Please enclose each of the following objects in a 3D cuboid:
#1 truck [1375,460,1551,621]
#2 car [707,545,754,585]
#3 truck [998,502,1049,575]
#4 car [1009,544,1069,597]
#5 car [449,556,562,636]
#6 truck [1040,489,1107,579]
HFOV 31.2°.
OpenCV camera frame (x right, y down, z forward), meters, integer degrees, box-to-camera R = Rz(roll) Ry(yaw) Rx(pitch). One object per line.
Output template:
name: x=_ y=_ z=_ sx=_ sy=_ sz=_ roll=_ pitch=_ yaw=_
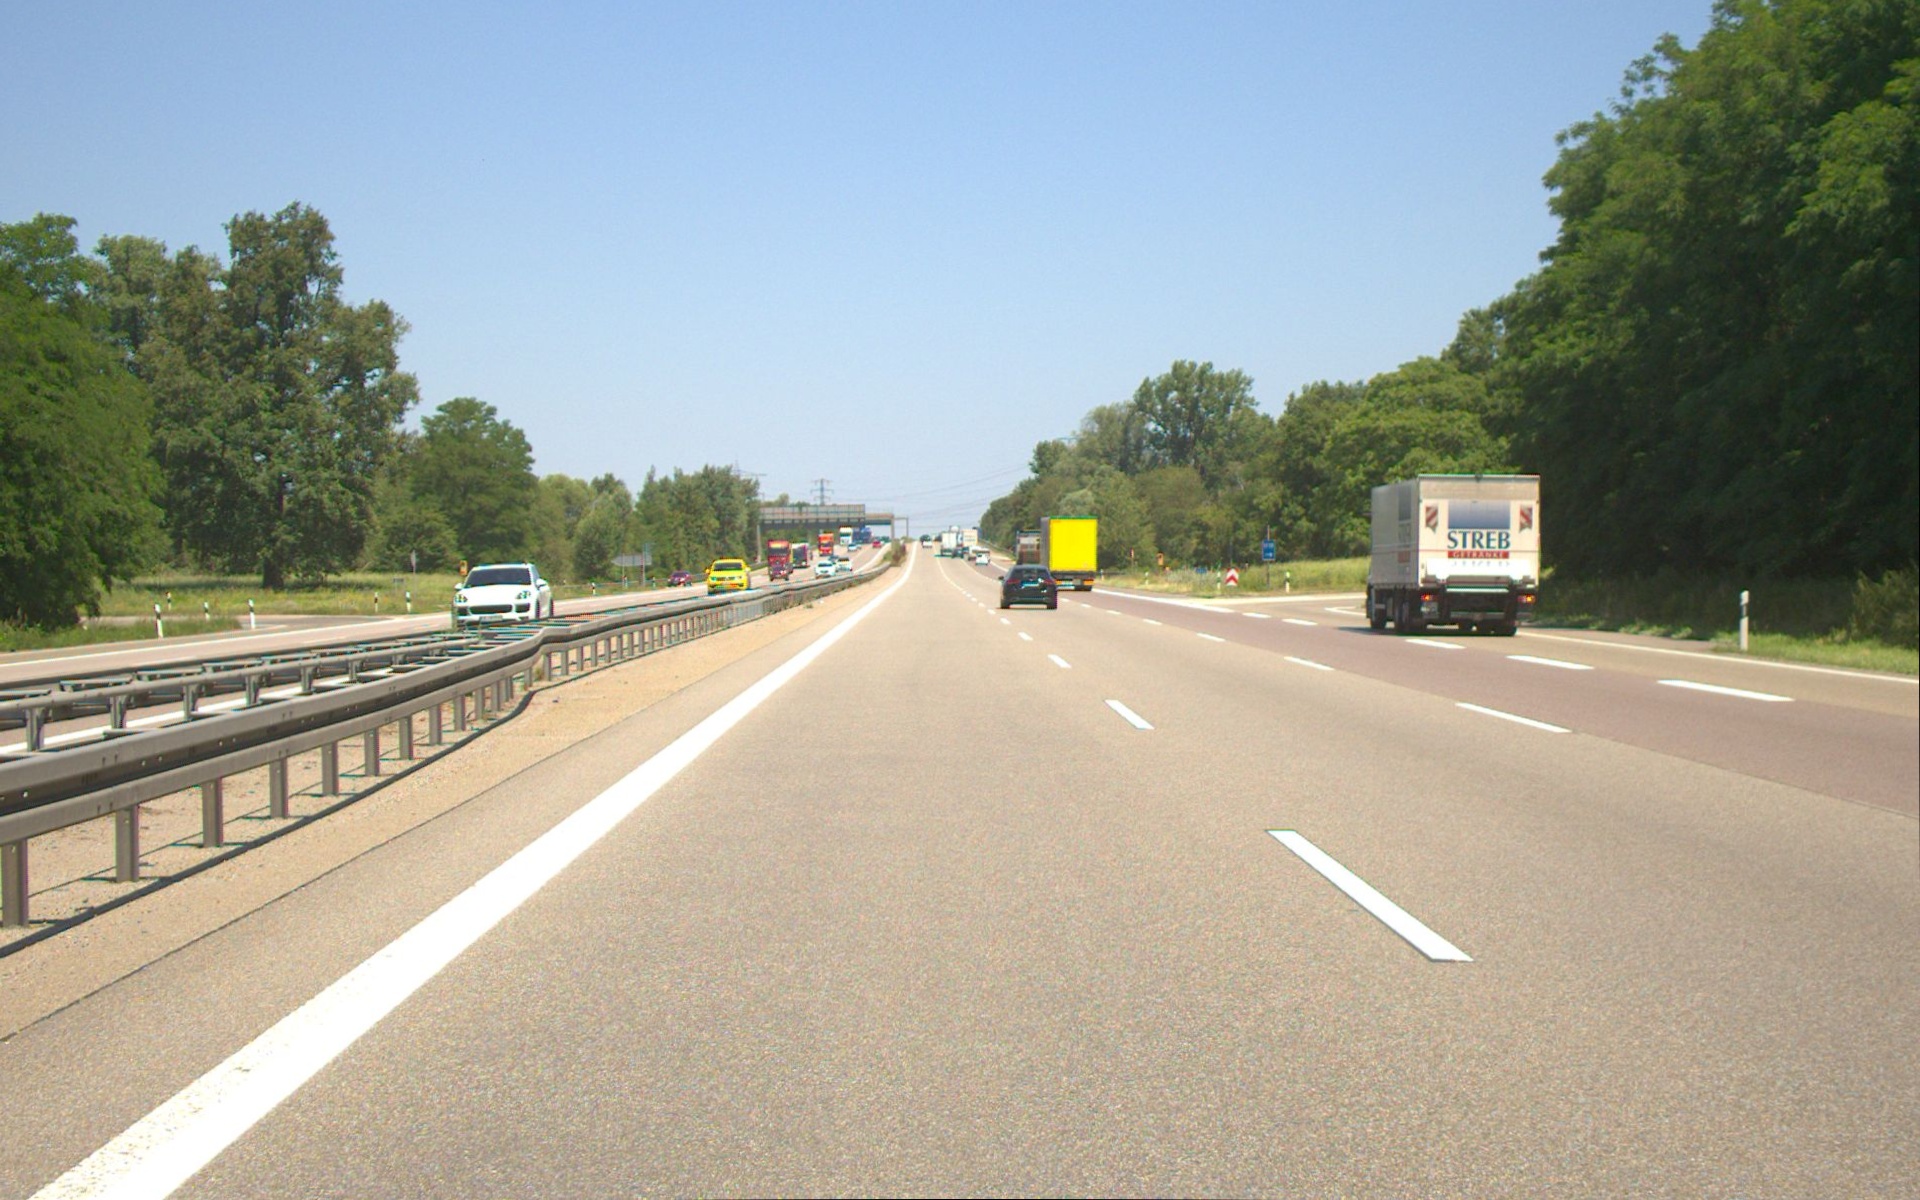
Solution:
truck: x=11.138 y=-1.294 z=77.066 sx=3.028 sy=3.308 sz=10.769 roll=1 pitch=1 yaw=4
car: x=-11.343 y=-1.740 z=170.152 sx=1.993 sy=1.957 sz=5.211 roll=1 pitch=1 yaw=-1
truck: x=4.390 y=-4.251 z=240.131 sx=3.367 sy=4.864 sz=15.086 roll=1 pitch=1 yaw=0
car: x=2.593 y=-0.984 z=113.273 sx=1.827 sy=1.700 sz=4.000 roll=1 pitch=1 yaw=-1
car: x=-10.633 y=-0.132 z=80.672 sx=1.993 sy=1.700 sz=5.265 roll=1 pitch=2 yaw=-1
truck: x=6.348 y=-3.684 z=194.866 sx=3.377 sy=4.864 sz=15.086 roll=1 pitch=1 yaw=0
